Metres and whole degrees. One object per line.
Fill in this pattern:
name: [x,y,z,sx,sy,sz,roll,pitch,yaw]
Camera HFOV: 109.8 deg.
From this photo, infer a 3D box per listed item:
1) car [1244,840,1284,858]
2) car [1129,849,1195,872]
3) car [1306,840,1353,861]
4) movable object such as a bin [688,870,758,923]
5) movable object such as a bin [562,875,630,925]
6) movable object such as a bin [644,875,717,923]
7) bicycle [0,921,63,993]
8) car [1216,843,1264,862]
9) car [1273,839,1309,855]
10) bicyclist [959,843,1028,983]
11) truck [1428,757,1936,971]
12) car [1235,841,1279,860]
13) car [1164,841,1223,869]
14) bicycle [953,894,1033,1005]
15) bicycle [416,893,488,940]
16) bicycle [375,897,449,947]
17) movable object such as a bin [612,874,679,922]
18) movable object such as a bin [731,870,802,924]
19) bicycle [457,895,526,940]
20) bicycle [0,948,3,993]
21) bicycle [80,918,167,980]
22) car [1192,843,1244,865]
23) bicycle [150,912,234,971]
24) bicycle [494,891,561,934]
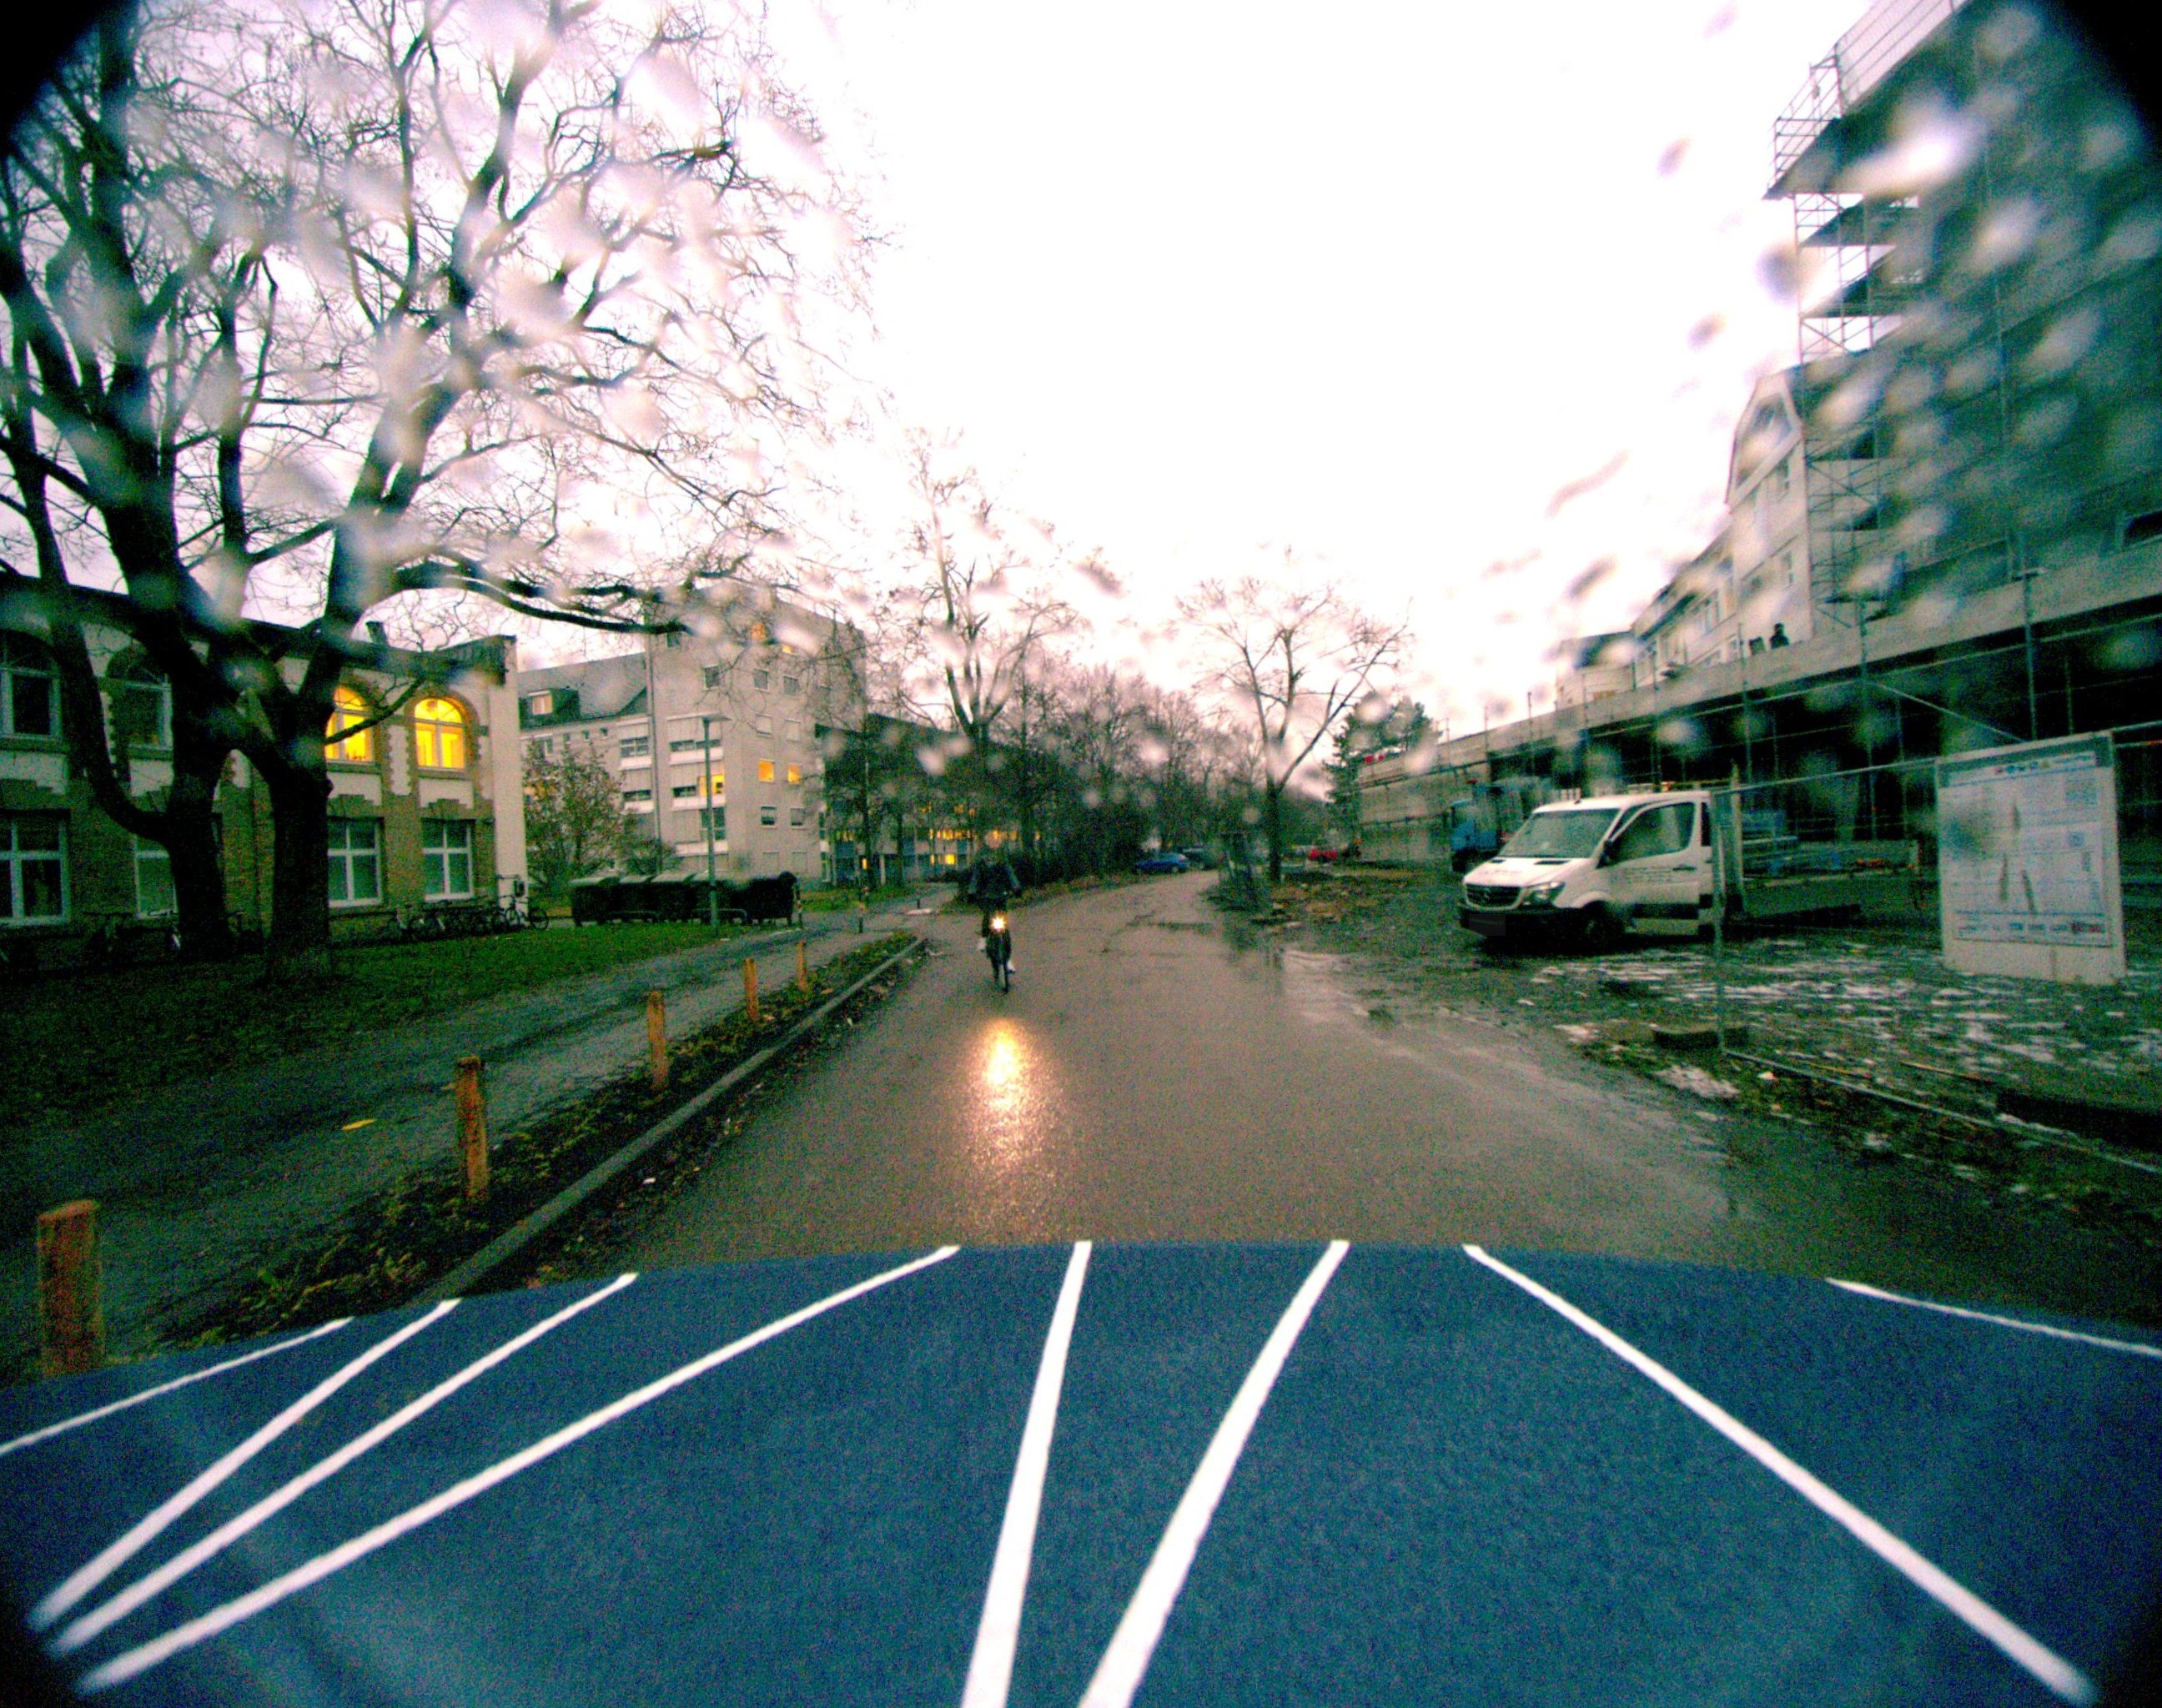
car: [20.360,-0.552,84.395,3.990,1.786,1.805,-2,1,26]
car: [5.661,0.464,53.307,4.171,1.469,2.004,-2,-2,22]
car: [19.418,-0.265,59.299,3.302,1.514,1.706,-2,1,22]
movable object such as a bin: [-9.432,1.114,20.044,1.305,1.306,0.989,-2,1,19]
movable object such as a bin: [-13.642,1.292,21.400,1.261,1.306,0.989,-2,1,19]
movable object such as a bin: [-10.857,1.213,20.614,1.435,1.218,0.989,-2,1,19]
bicycle: [-19.182,1.818,13.685,2.136,1.150,0.574,-2,1,26]
car: [14.826,-0.122,70.874,3.990,1.652,2.003,-2,1,26]
car: [25.999,-0.858,94.156,3.990,1.786,1.805,-2,1,26]
bicyclist: [-1.093,0.717,9.620,0.706,1.679,0.771,-2,1,1]
truck: [9.333,0.045,11.919,7.082,2.573,2.130,-4,1,-12]
car: [17.830,-0.373,77.090,3.990,1.786,1.805,-2,1,26]
car: [8.679,0.067,58.521,3.990,1.980,2.003,-2,1,26]
bicycle: [-1.072,1.152,9.655,0.730,1.126,1.894,-2,1,1]
bicycle: [-16.517,1.638,19.945,2.136,1.150,0.574,-2,1,26]
bicycle: [-16.846,1.691,19.118,2.136,1.150,0.574,-2,1,26]
movable object such as a bin: [-12.140,1.221,21.210,1.249,1.272,0.989,-2,1,19]
movable object such as a bin: [-8.085,1.097,19.580,1.322,1.309,1.063,-1,1,6]
bicycle: [-16.227,1.731,20.902,2.136,1.150,0.574,-2,1,26]
bicycle: [-19.439,1.816,13.119,2.136,1.150,0.574,-2,1,26]
bicycle: [-18.717,1.820,14.841,2.136,1.086,0.574,-2,1,26]
car: [11.726,-0.003,64.972,3.990,1.786,1.805,-2,1,26]
bicycle: [-18.364,1.785,15.684,2.136,1.104,0.574,-2,1,26]
bicycle: [-15.905,1.664,21.836,2.136,1.150,0.574,-2,1,26]
